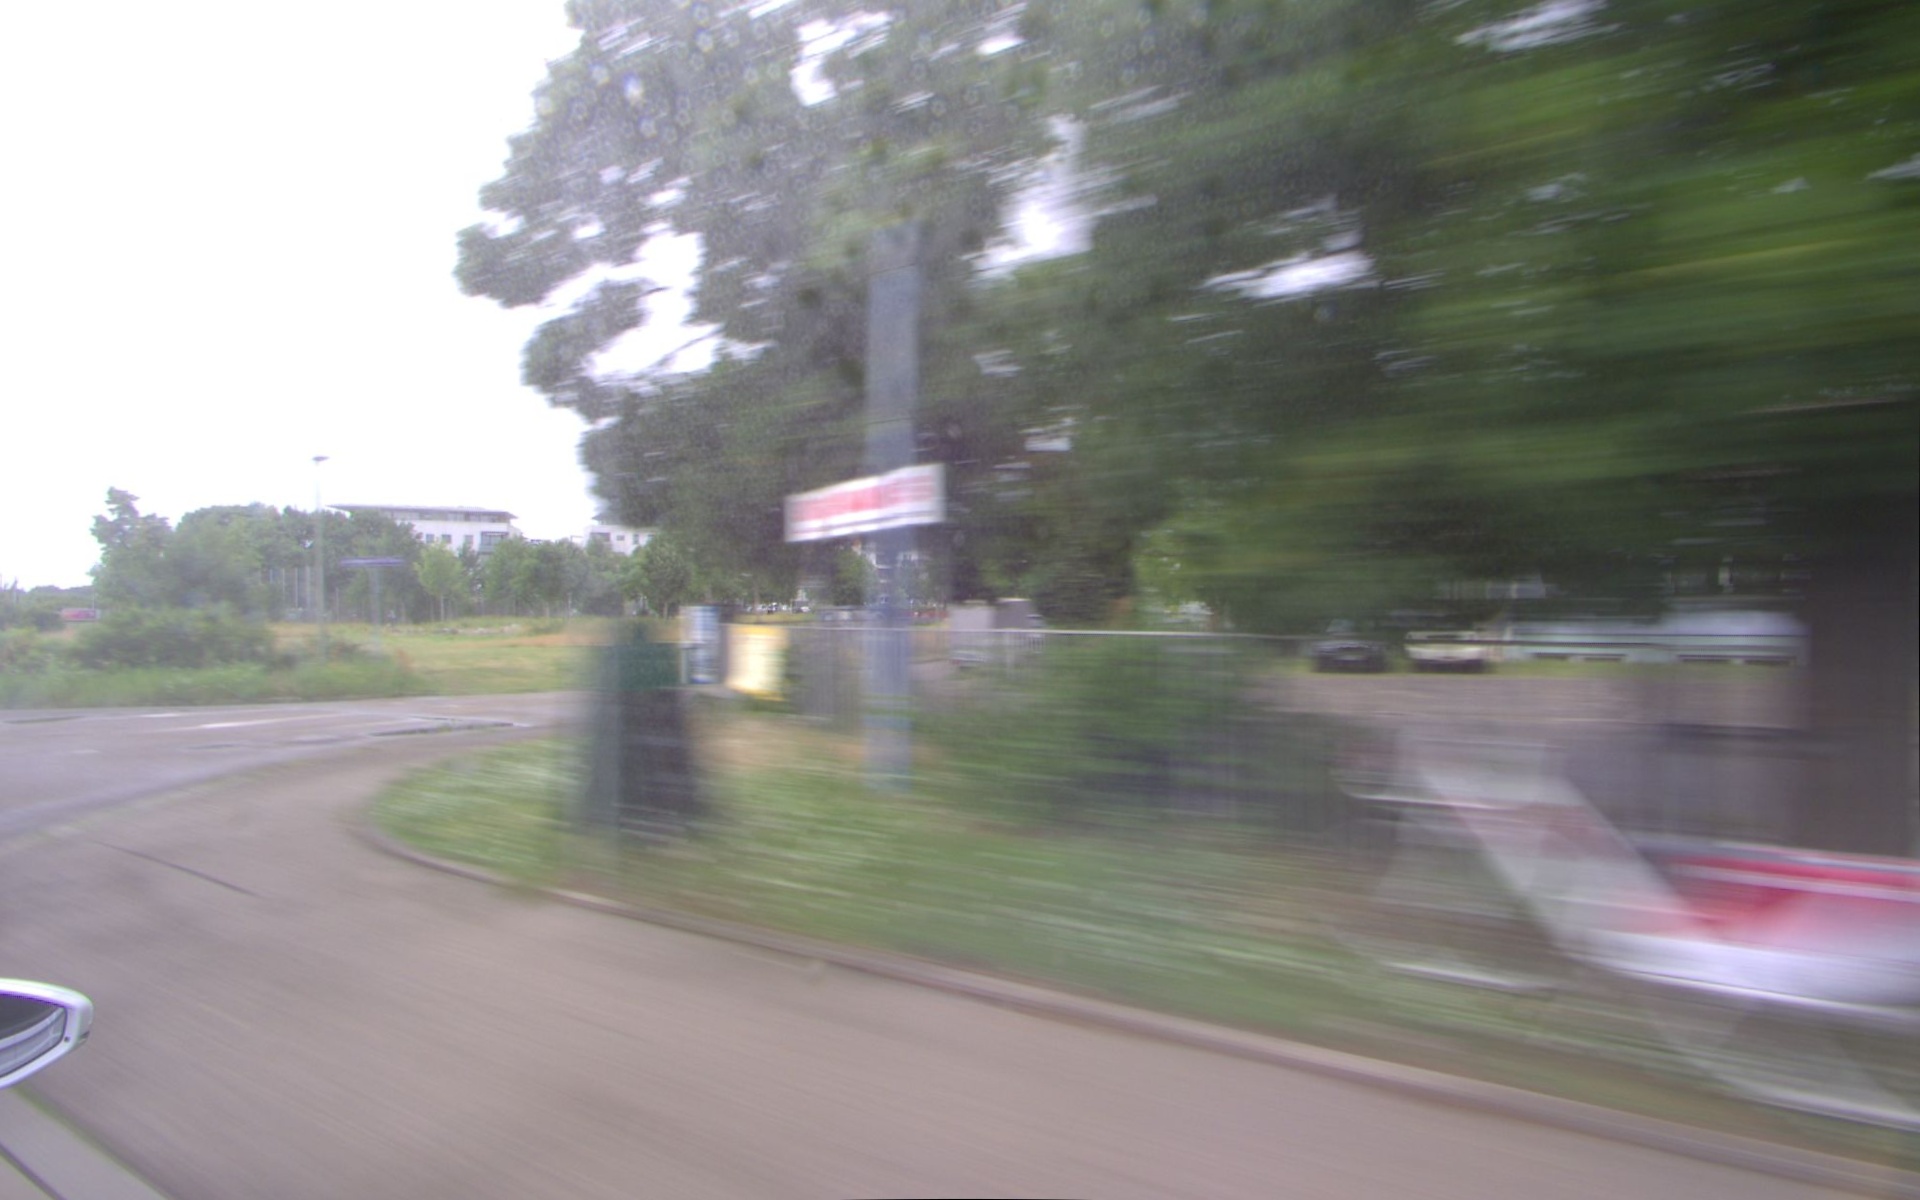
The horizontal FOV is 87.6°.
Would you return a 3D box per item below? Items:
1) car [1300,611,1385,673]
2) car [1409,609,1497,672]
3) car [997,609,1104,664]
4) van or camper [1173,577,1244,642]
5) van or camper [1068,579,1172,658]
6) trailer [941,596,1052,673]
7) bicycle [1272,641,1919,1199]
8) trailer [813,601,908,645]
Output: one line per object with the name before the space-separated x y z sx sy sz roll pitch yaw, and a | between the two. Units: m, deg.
car | 9.703 1.008 25.251 1.838 1.428 3.989 0 -1 24
car | 12.163 0.920 24.734 1.806 1.405 4.288 0 0 26
car | 3.105 1.160 33.523 1.968 1.662 4.575 1 0 28
van or camper | 12.942 0.450 51.845 2.235 3.153 6.051 1 0 27
van or camper | 6.363 0.664 39.269 2.379 2.870 5.156 1 1 29
trailer | 1.118 0.927 28.766 1.617 2.040 3.983 1 0 28
bicycle | 1.954 0.712 2.860 0.789 1.125 1.937 0 0 -38
trailer | -3.763 0.841 38.473 1.730 1.553 4.105 1 0 26
